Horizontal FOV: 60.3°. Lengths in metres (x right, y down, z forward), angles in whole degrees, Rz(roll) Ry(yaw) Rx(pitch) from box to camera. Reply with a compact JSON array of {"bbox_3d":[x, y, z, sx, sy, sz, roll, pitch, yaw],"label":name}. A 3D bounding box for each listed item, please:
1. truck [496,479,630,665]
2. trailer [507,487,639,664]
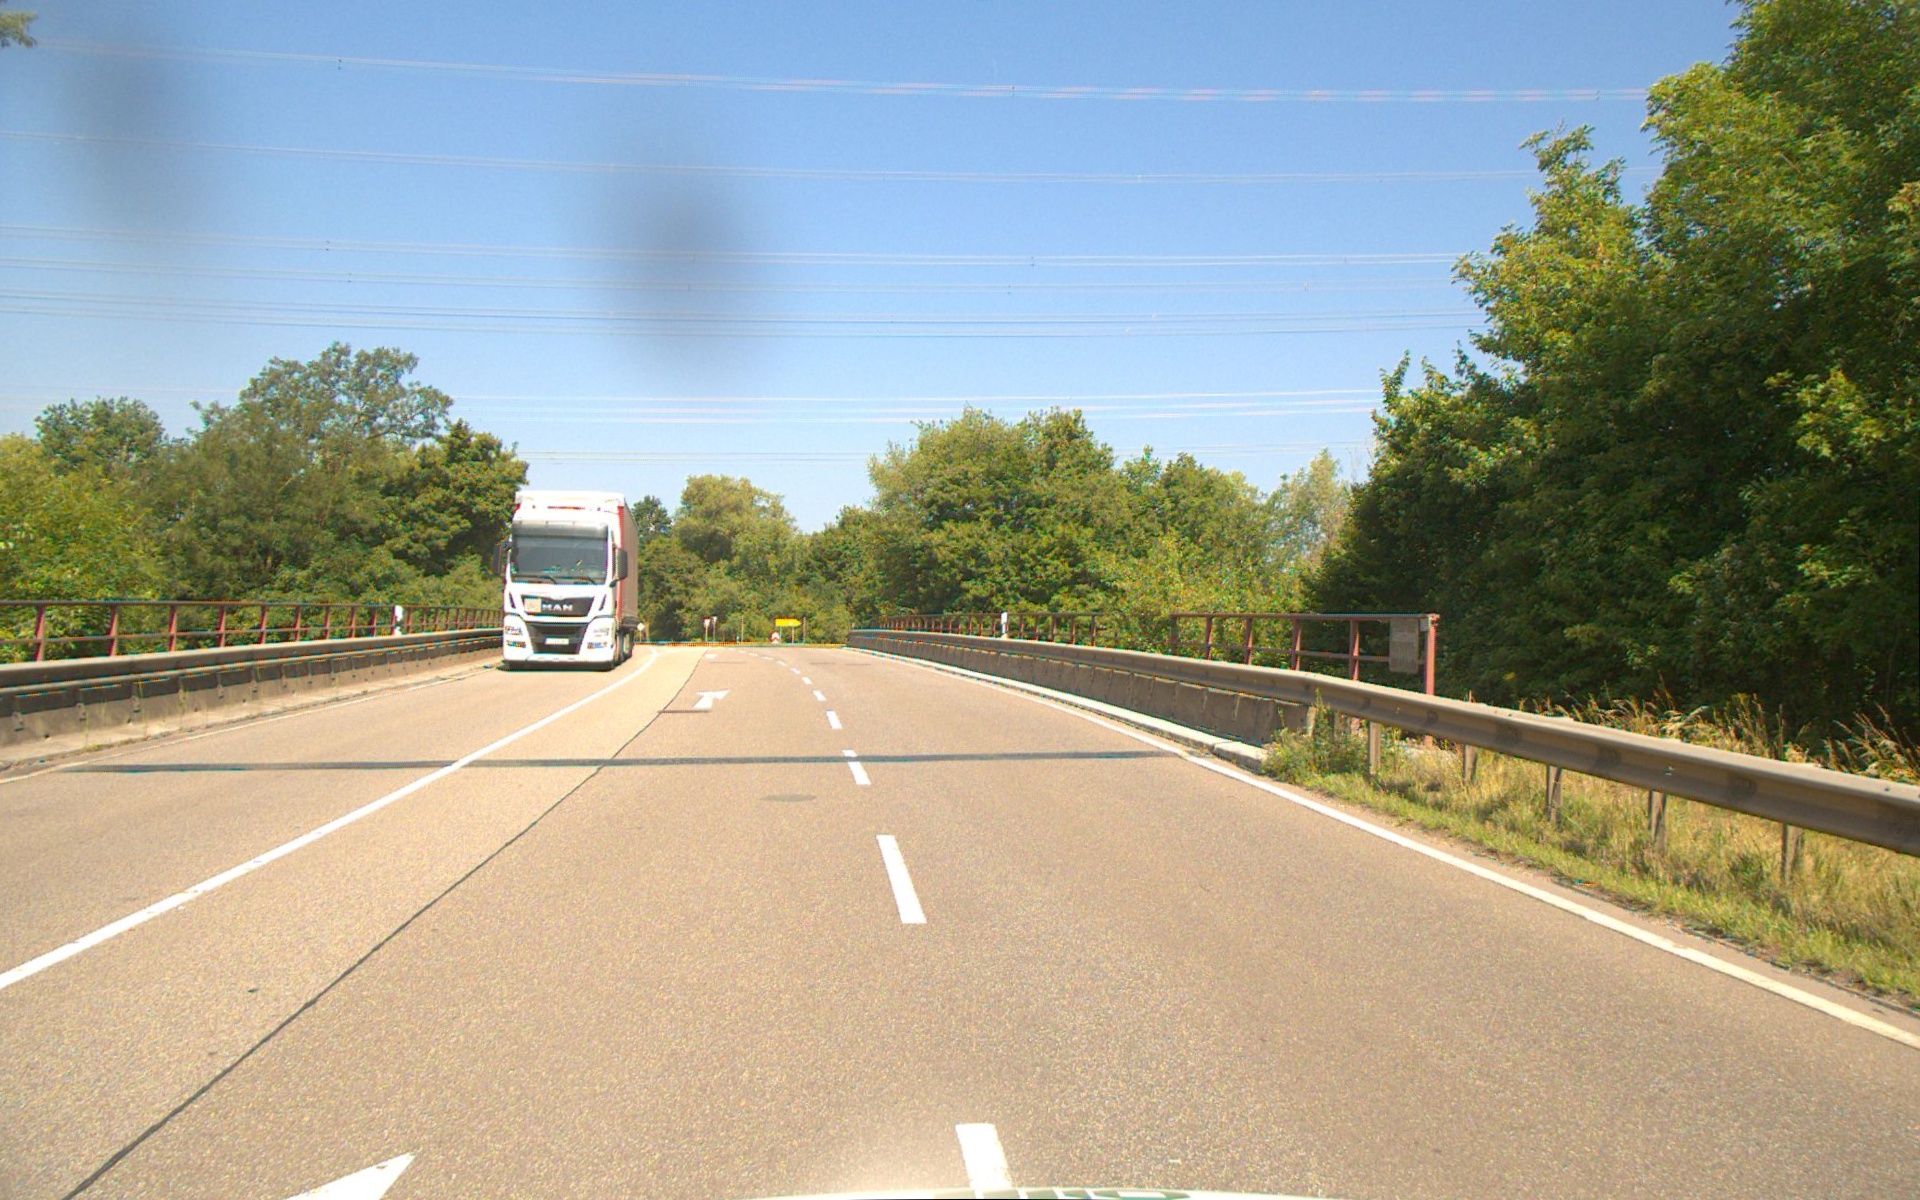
[{"bbox_3d":[-9.369,-0.570,39.544,2.718,4.105,5.841,0,-1,-10],"label":"truck"},{"bbox_3d":[-10.424,-0.489,45.750,2.718,4.133,14.165,0,-1,-10],"label":"trailer"}]
